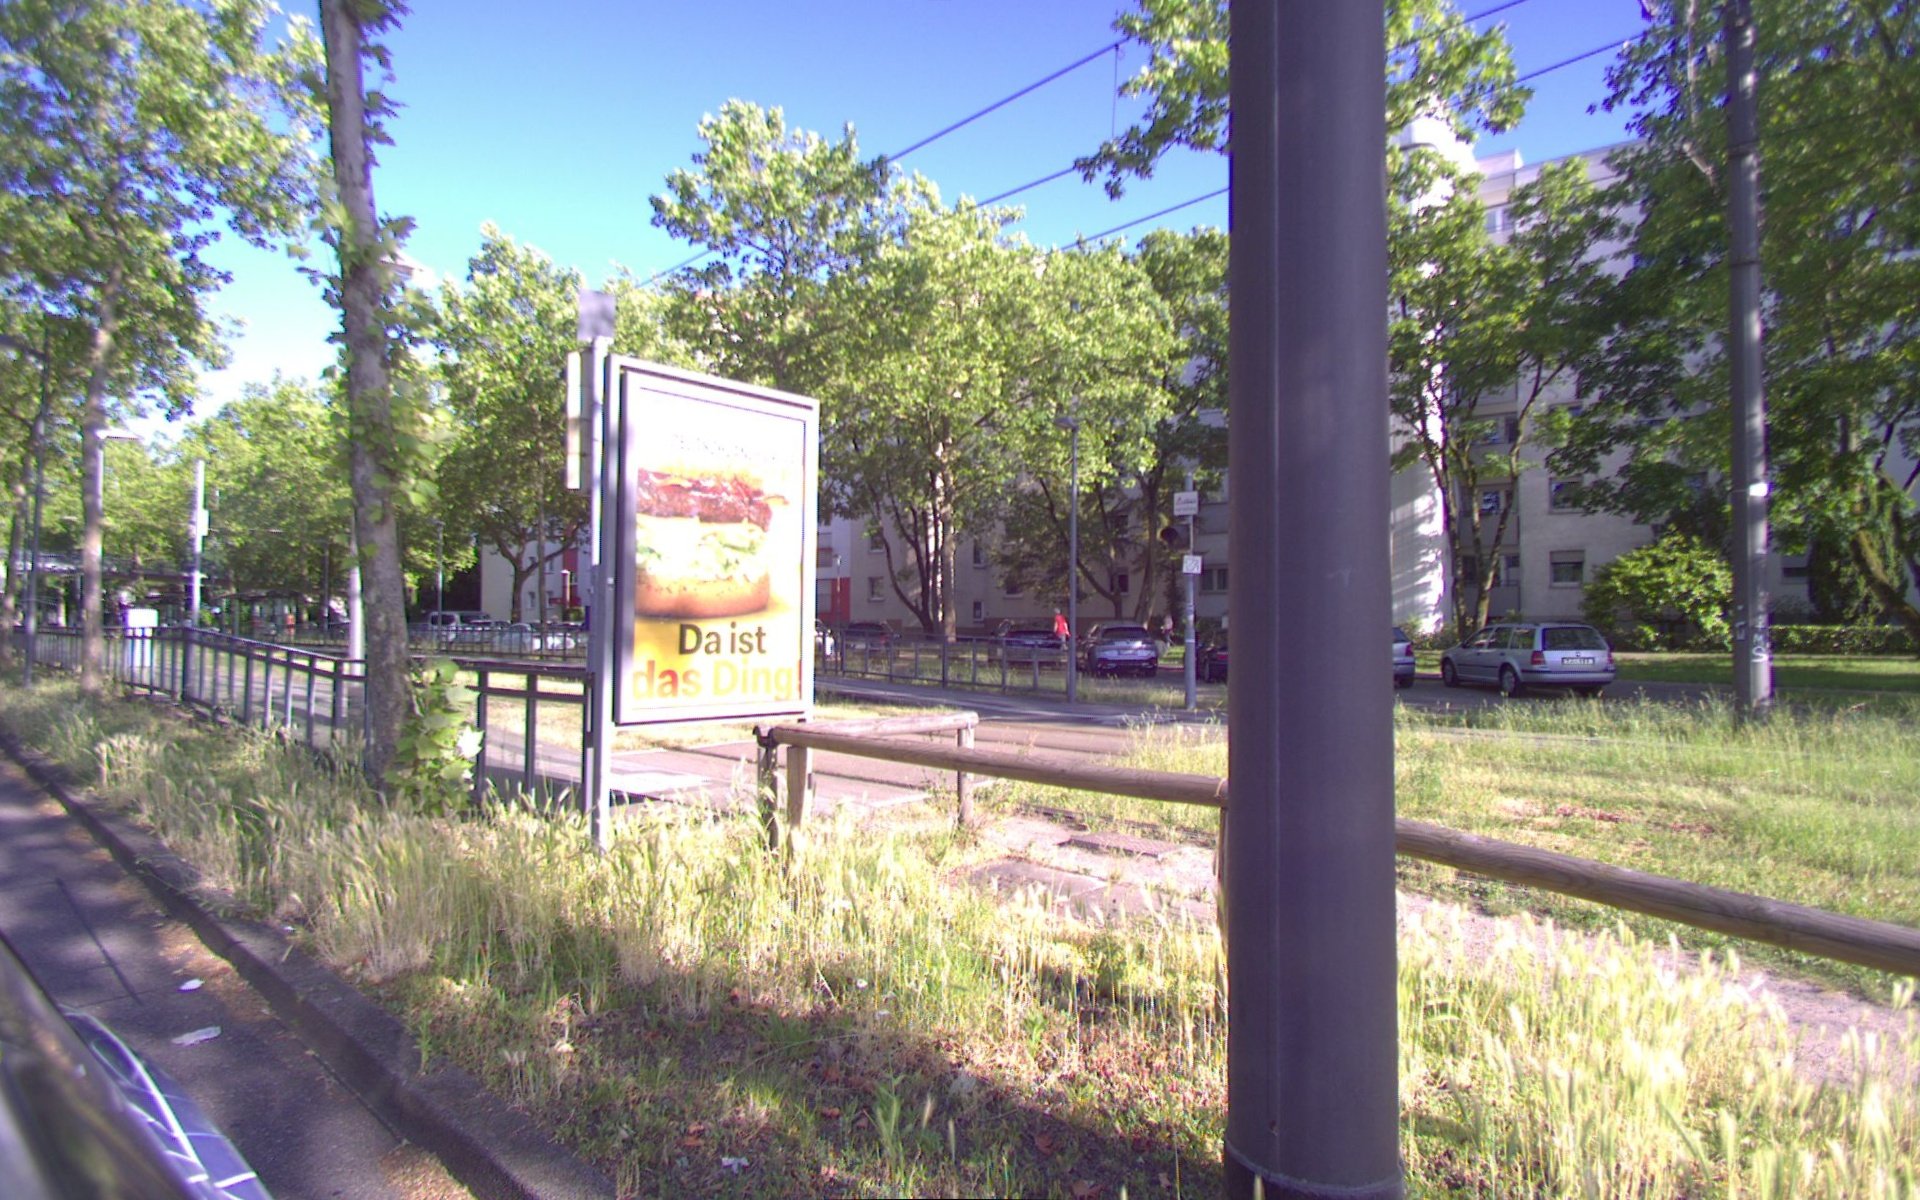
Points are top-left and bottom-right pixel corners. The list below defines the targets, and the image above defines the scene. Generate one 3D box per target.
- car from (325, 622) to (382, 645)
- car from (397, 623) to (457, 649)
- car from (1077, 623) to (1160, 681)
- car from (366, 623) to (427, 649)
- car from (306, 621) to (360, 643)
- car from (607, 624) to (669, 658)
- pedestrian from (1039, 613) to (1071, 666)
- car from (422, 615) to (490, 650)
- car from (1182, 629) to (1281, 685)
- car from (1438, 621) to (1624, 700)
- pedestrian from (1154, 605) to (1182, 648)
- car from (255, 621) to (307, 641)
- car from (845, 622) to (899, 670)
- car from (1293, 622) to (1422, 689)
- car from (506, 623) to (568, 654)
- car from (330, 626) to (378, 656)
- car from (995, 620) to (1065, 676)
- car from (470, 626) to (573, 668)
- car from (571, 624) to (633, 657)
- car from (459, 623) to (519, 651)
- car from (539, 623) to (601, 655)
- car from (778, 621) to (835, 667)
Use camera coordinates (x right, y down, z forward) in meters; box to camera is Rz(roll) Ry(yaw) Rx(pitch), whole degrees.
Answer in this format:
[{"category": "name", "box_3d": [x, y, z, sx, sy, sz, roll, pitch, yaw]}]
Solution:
[{"category": "car", "box_3d": [-40.828, 2.220, 68.193, 1.633, 1.452, 3.805, -1, -1, -2]}, {"category": "car", "box_3d": [-31.321, 2.077, 59.601, 1.633, 1.452, 3.805, -1, -1, -2]}, {"category": "car", "box_3d": [4.227, 1.361, 27.520, 1.633, 1.413, 3.803, -1, -1, 0]}, {"category": "car", "box_3d": [-33.684, 2.108, 60.604, 1.633, 1.452, 3.805, -1, -1, -2]}, {"category": "car", "box_3d": [-44.968, 2.281, 72.683, 1.633, 1.452, 3.805, -1, -1, -2]}, {"category": "car", "box_3d": [-14.053, 1.761, 44.338, 1.633, 1.366, 3.805, -1, -1, -2]}, {"category": "pedestrian", "box_3d": [3.184, 1.308, 33.840, 0.786, 1.745, 0.755, -1, 0, 39]}, {"category": "car", "box_3d": [-28.443, 1.819, 57.256, 1.814, 1.888, 4.323, -1, -1, -2]}, {"category": "car", "box_3d": [6.684, 1.375, 25.278, 1.445, 1.234, 3.815, -1, -1, 0]}, {"category": "car", "box_3d": [11.483, 1.159, 20.665, 1.559, 1.413, 3.906, -1, -1, 0]}, {"category": "pedestrian", "box_3d": [8.117, 1.020, 39.514, 0.786, 1.635, 0.755, -1, 0, 39]}, {"category": "car", "box_3d": [-53.040, 2.394, 79.155, 1.633, 1.452, 3.805, -1, -1, -2]}, {"category": "car", "box_3d": [-2.966, 1.523, 34.650, 1.633, 1.522, 3.805, -1, -1, -2]}, {"category": "car", "box_3d": [9.152, 1.236, 23.591, 1.559, 1.413, 3.638, -1, -1, 0]}, {"category": "car", "box_3d": [-21.327, 1.935, 51.185, 1.633, 1.452, 3.805, -1, -1, -2]}, {"category": "car", "box_3d": [-33.052, 2.205, 55.151, 2.817, 1.569, 1.558, -2, -1, 44]}, {"category": "car", "box_3d": [1.993, 1.351, 29.668, 1.633, 1.522, 3.805, -1, -1, -2]}, {"category": "car", "box_3d": [-17.214, 1.807, 39.635, 4.634, 1.522, 1.636, -1, -1, 37]}, {"category": "car", "box_3d": [-16.616, 1.850, 47.160, 1.633, 1.452, 3.805, -1, -1, -2]}, {"category": "car", "box_3d": [-25.861, 1.994, 55.662, 1.633, 1.452, 3.805, -1, -1, -2]}, {"category": "car", "box_3d": [-19.035, 1.892, 49.541, 1.633, 1.452, 3.805, -1, -1, -2]}, {"category": "car", "box_3d": [-5.556, 1.565, 37.019, 1.633, 1.522, 3.805, -1, -1, -2]}]
